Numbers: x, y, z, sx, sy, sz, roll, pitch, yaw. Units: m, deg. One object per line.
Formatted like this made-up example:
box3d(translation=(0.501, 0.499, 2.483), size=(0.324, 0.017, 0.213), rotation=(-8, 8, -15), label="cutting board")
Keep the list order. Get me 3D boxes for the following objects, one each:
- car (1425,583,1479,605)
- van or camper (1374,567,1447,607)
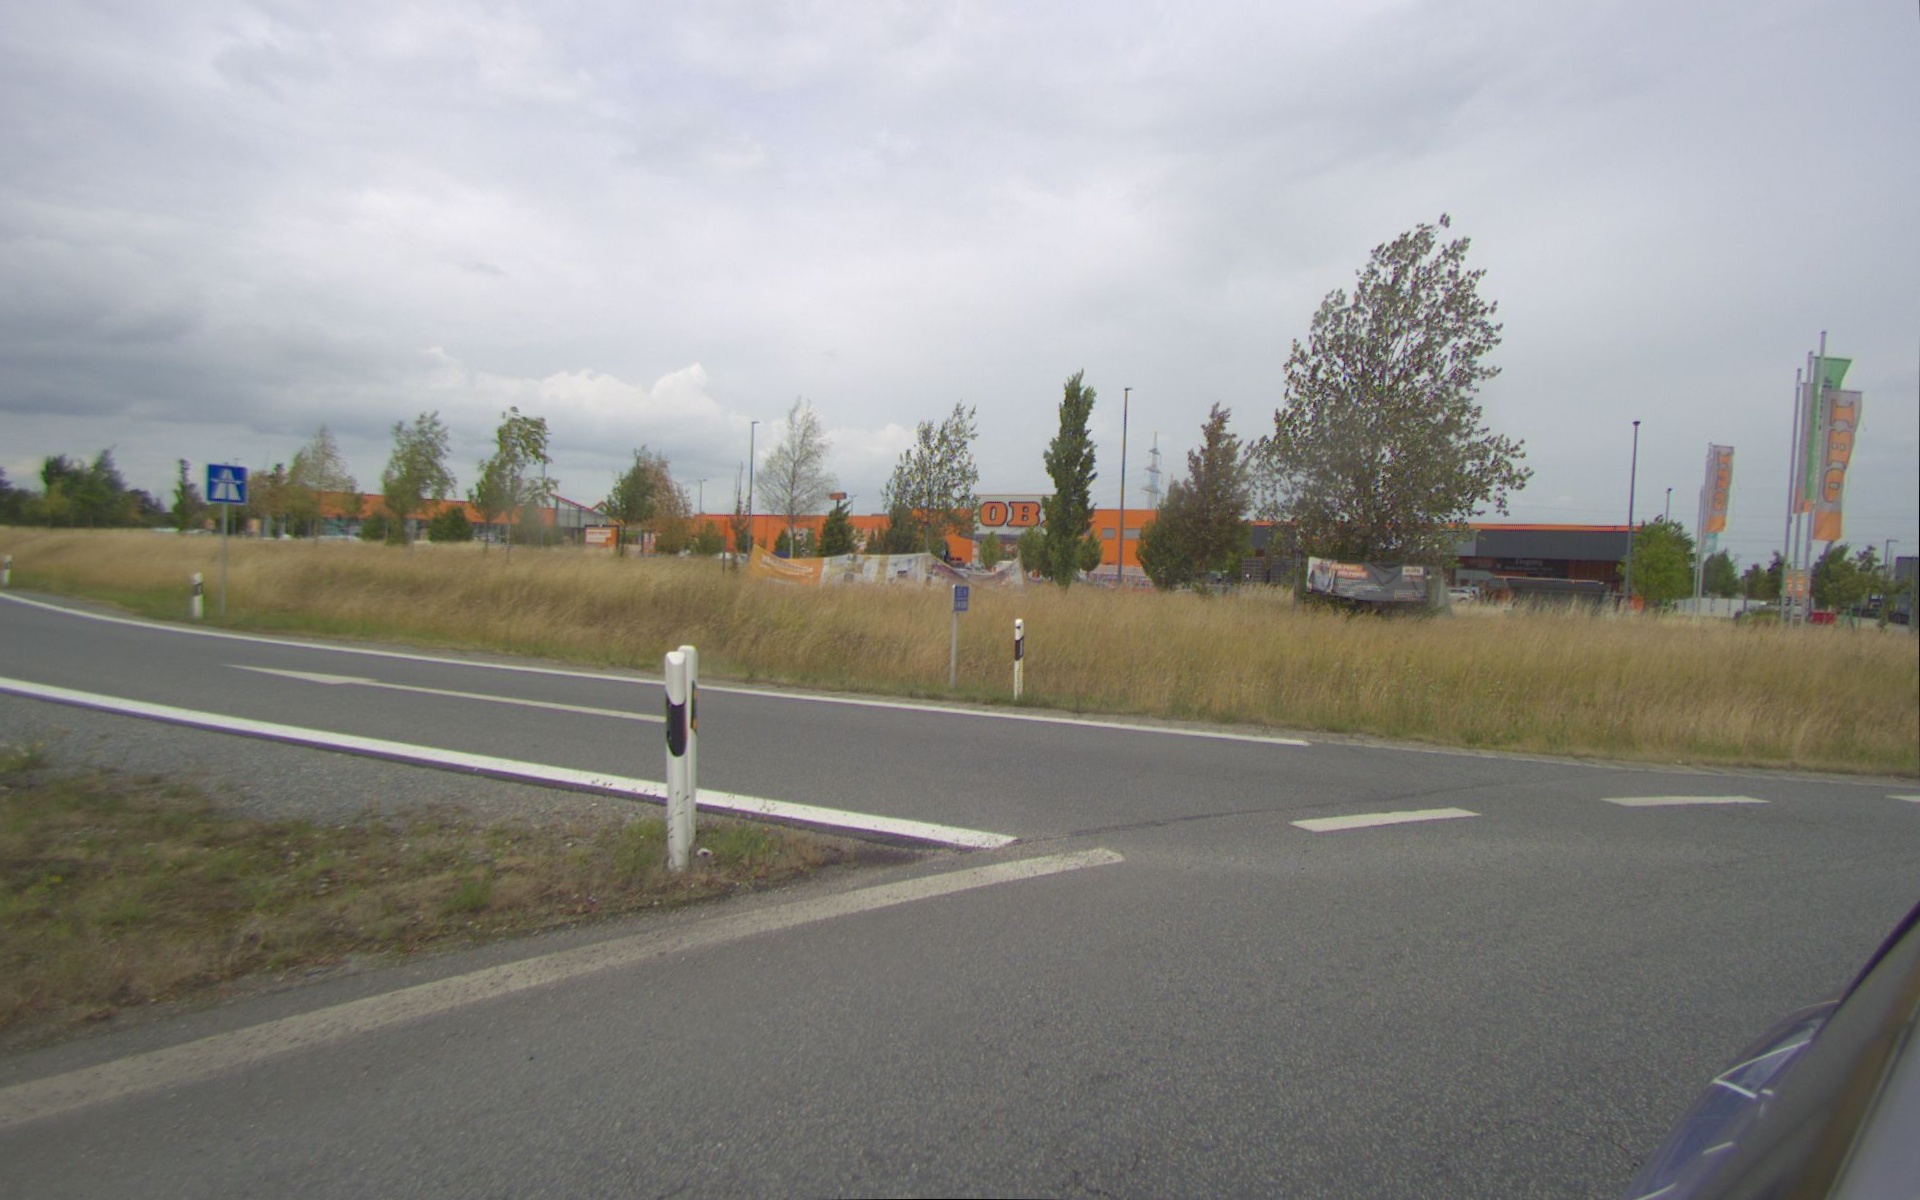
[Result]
box3d(translation=(43.557, -0.569, 89.606), size=(3.980, 1.740, 1.973), rotation=(4, 2, 38), label="car")
box3d(translation=(34.832, -1.061, 78.315), size=(4.738, 2.825, 1.973), rotation=(4, 2, 37), label="van or camper")
